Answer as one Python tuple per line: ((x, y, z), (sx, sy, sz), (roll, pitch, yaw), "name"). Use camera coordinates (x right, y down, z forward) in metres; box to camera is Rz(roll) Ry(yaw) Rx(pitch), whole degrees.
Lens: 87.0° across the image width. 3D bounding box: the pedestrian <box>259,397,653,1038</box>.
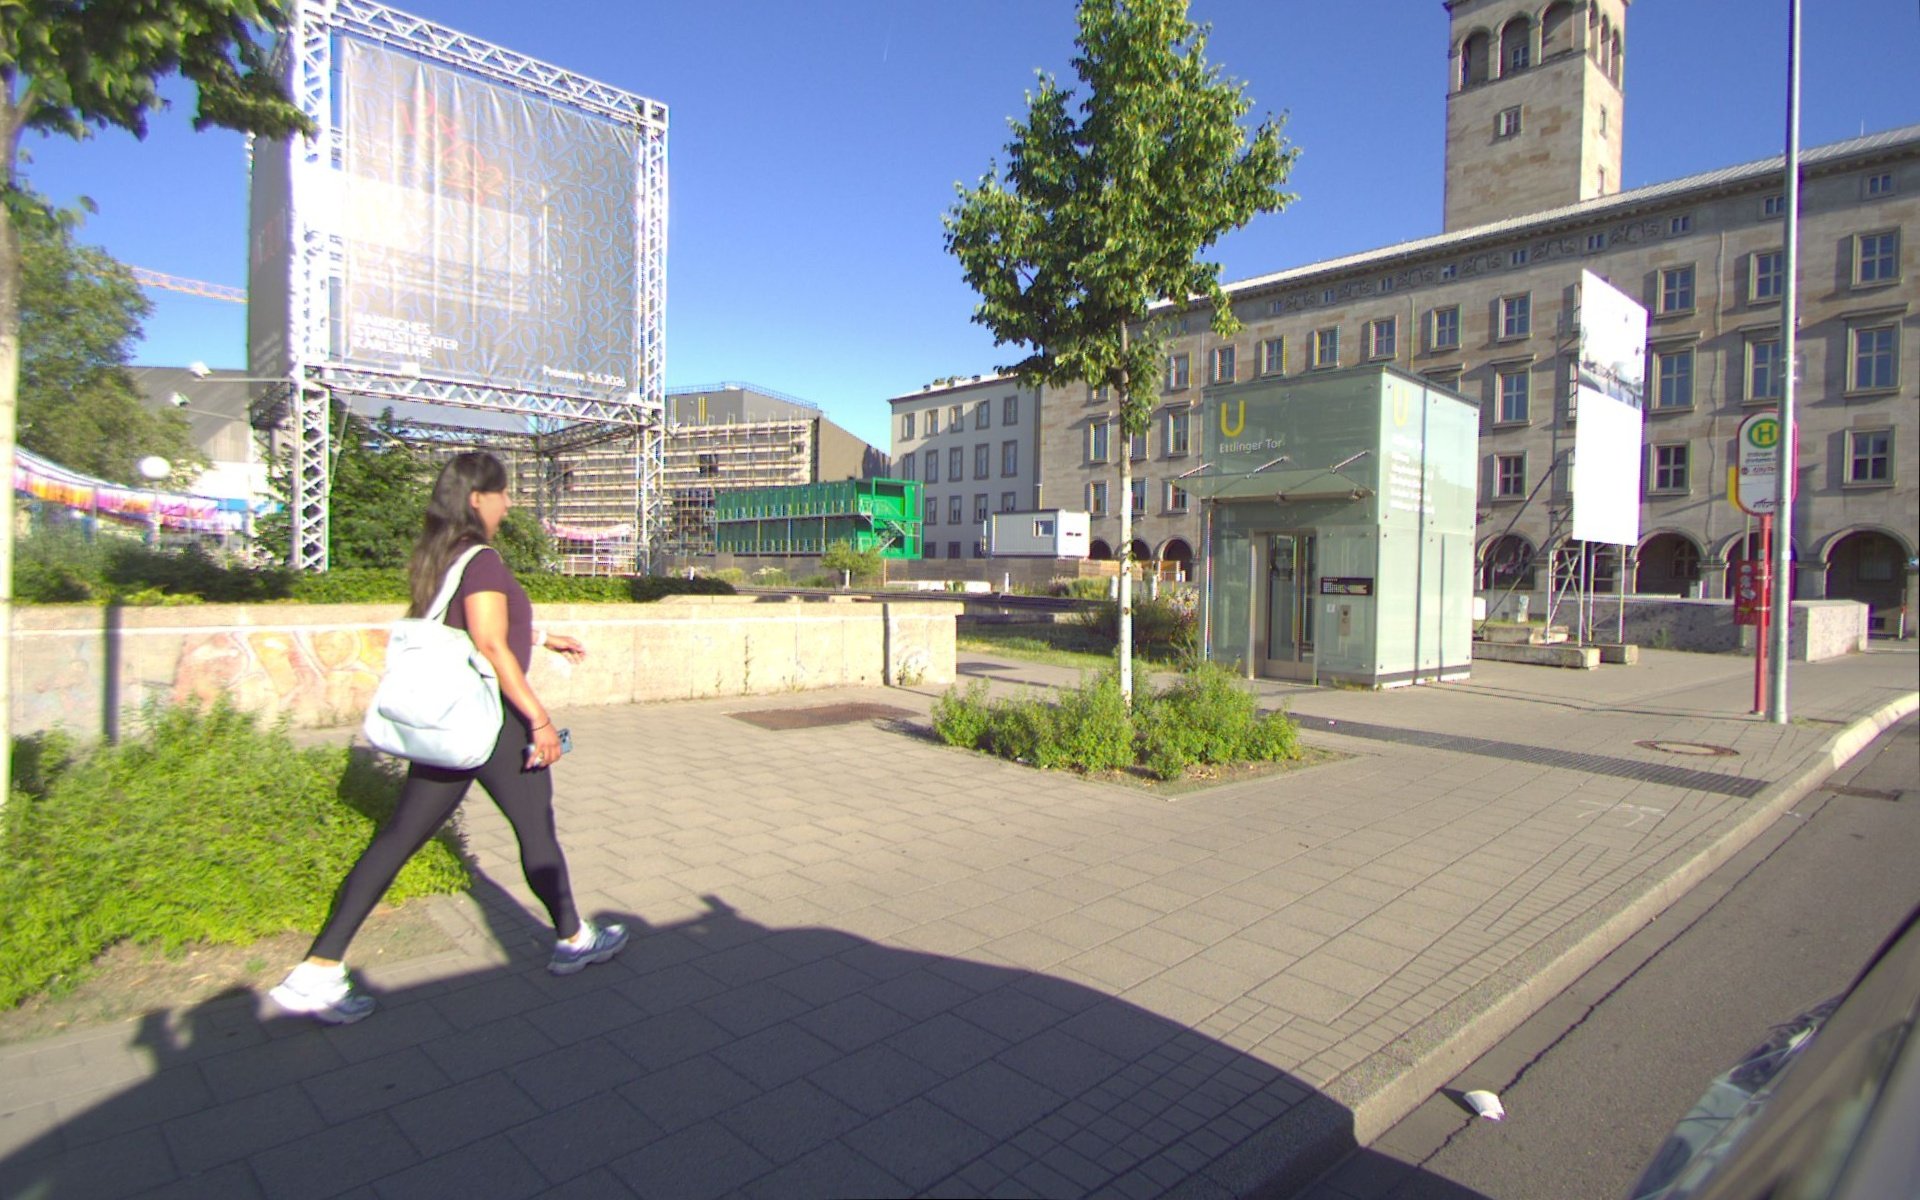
((-1.581, 0.318, 3.343), (1.020, 1.769, 0.826), (1, 2, -20), "pedestrian")
